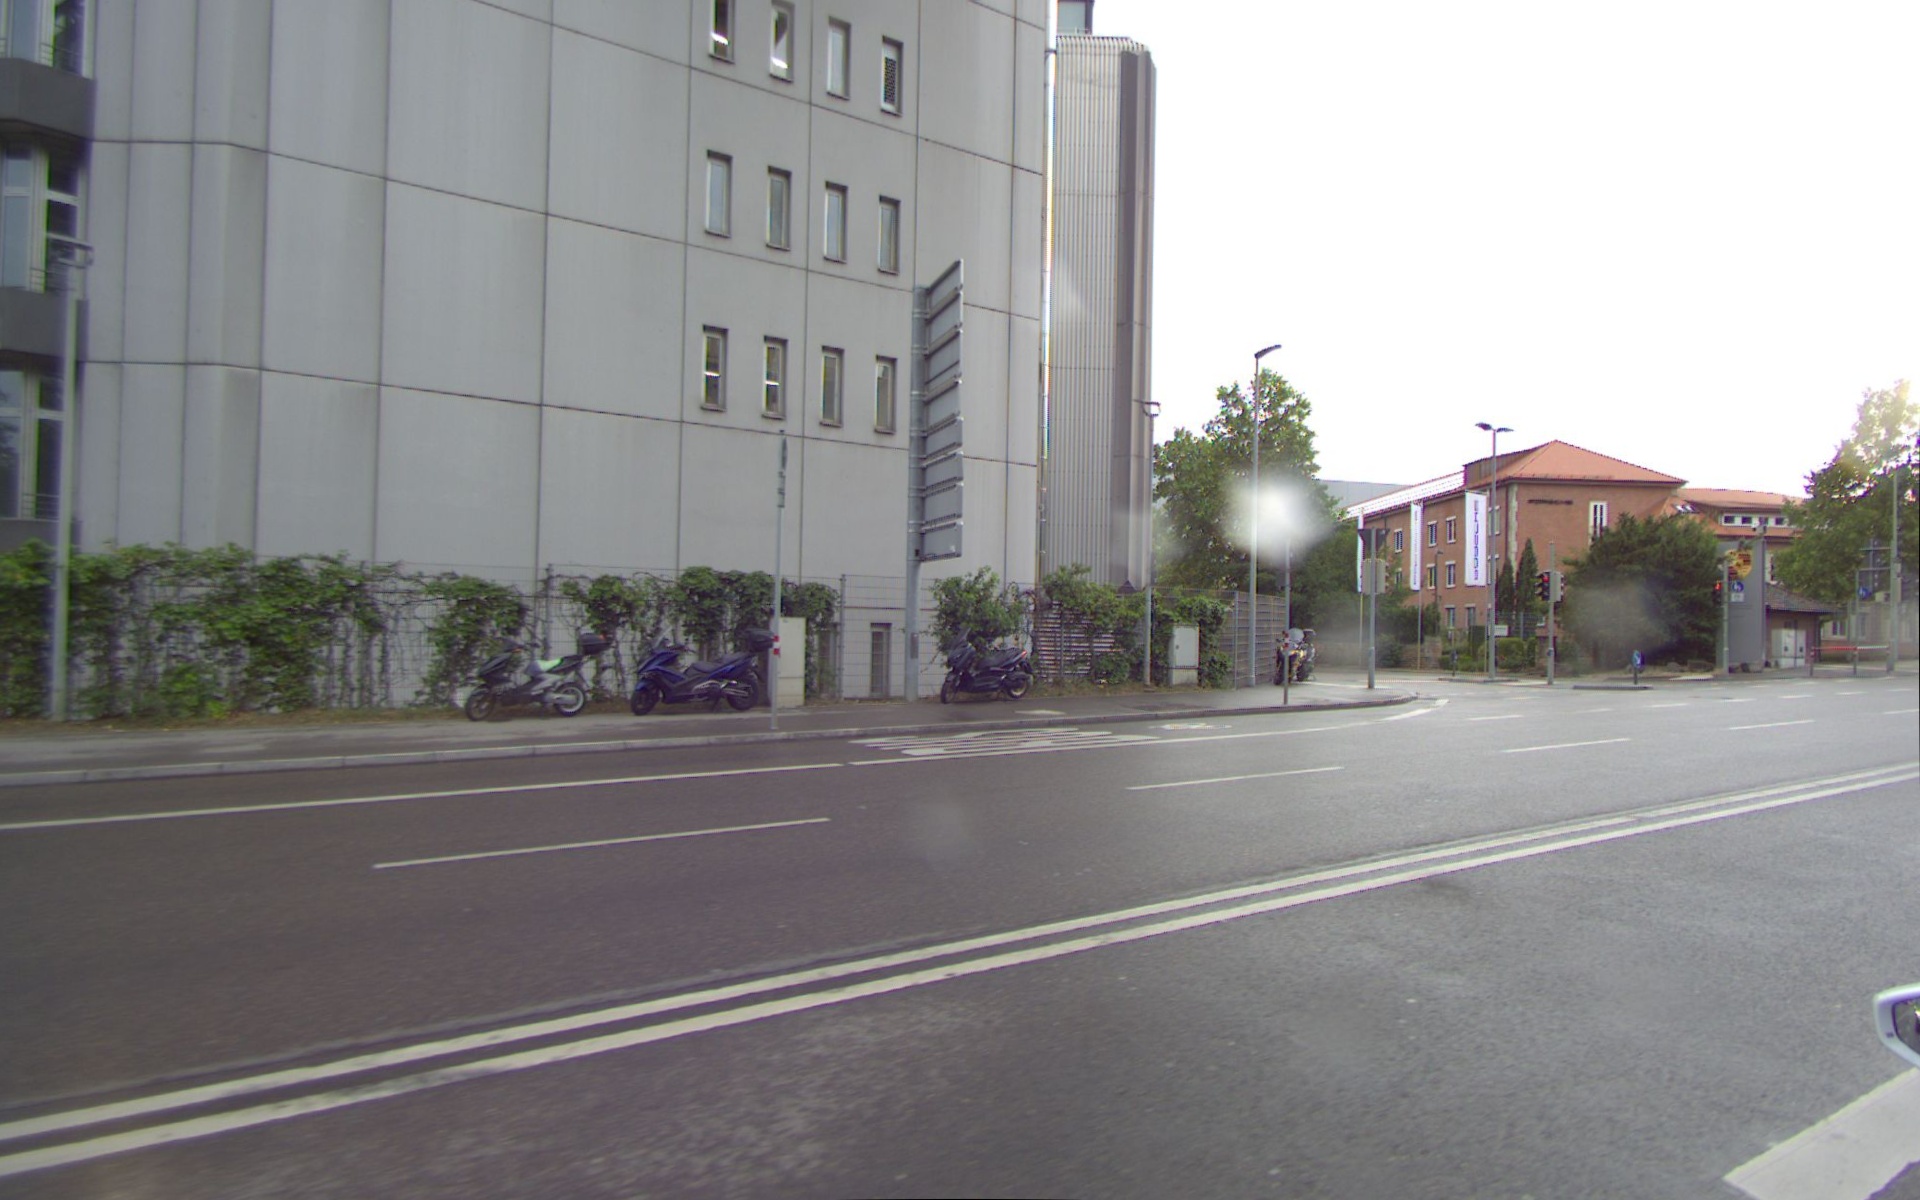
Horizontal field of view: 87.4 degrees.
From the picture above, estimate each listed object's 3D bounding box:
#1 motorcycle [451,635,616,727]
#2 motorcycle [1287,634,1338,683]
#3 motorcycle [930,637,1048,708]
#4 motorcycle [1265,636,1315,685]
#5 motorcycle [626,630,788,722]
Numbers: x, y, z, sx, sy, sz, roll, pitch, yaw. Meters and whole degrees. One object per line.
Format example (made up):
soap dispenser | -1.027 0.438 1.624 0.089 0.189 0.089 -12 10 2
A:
motorcycle | -6.238 1.148 14.731 2.132 1.267 0.781 1 -2 -31
motorcycle | 10.385 1.689 29.487 1.008 1.355 2.771 -1 -2 28
motorcycle | 0.553 1.330 18.865 2.132 1.263 0.781 1 -2 -31
motorcycle | 8.911 1.606 27.064 0.759 1.234 2.504 0 -2 31
motorcycle | -3.970 1.159 15.846 2.342 1.365 0.781 1 -2 -31
